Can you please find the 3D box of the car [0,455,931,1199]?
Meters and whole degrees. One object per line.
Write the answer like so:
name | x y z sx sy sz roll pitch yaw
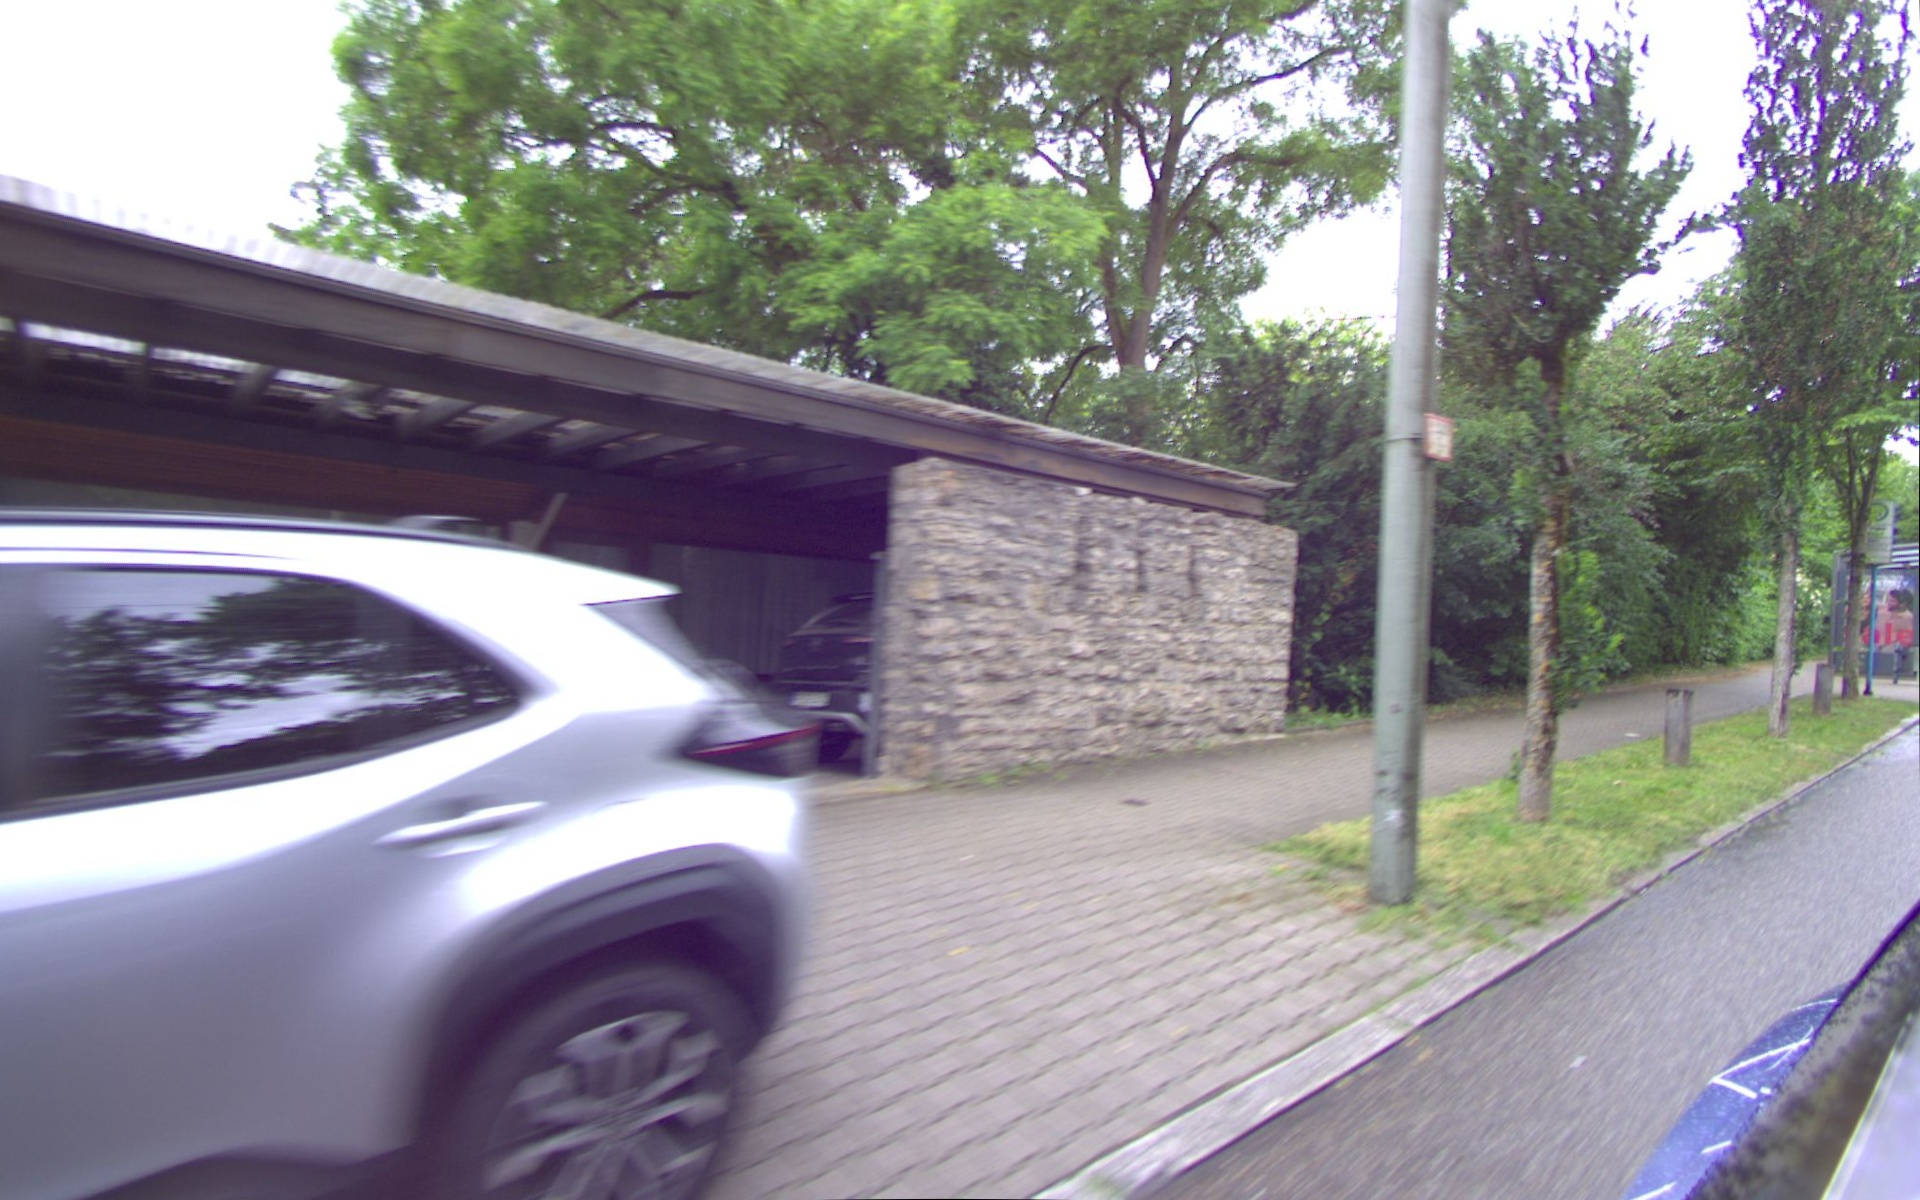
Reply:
car | -2.300 0.512 1.889 4.145 1.586 1.922 2 2 -41
